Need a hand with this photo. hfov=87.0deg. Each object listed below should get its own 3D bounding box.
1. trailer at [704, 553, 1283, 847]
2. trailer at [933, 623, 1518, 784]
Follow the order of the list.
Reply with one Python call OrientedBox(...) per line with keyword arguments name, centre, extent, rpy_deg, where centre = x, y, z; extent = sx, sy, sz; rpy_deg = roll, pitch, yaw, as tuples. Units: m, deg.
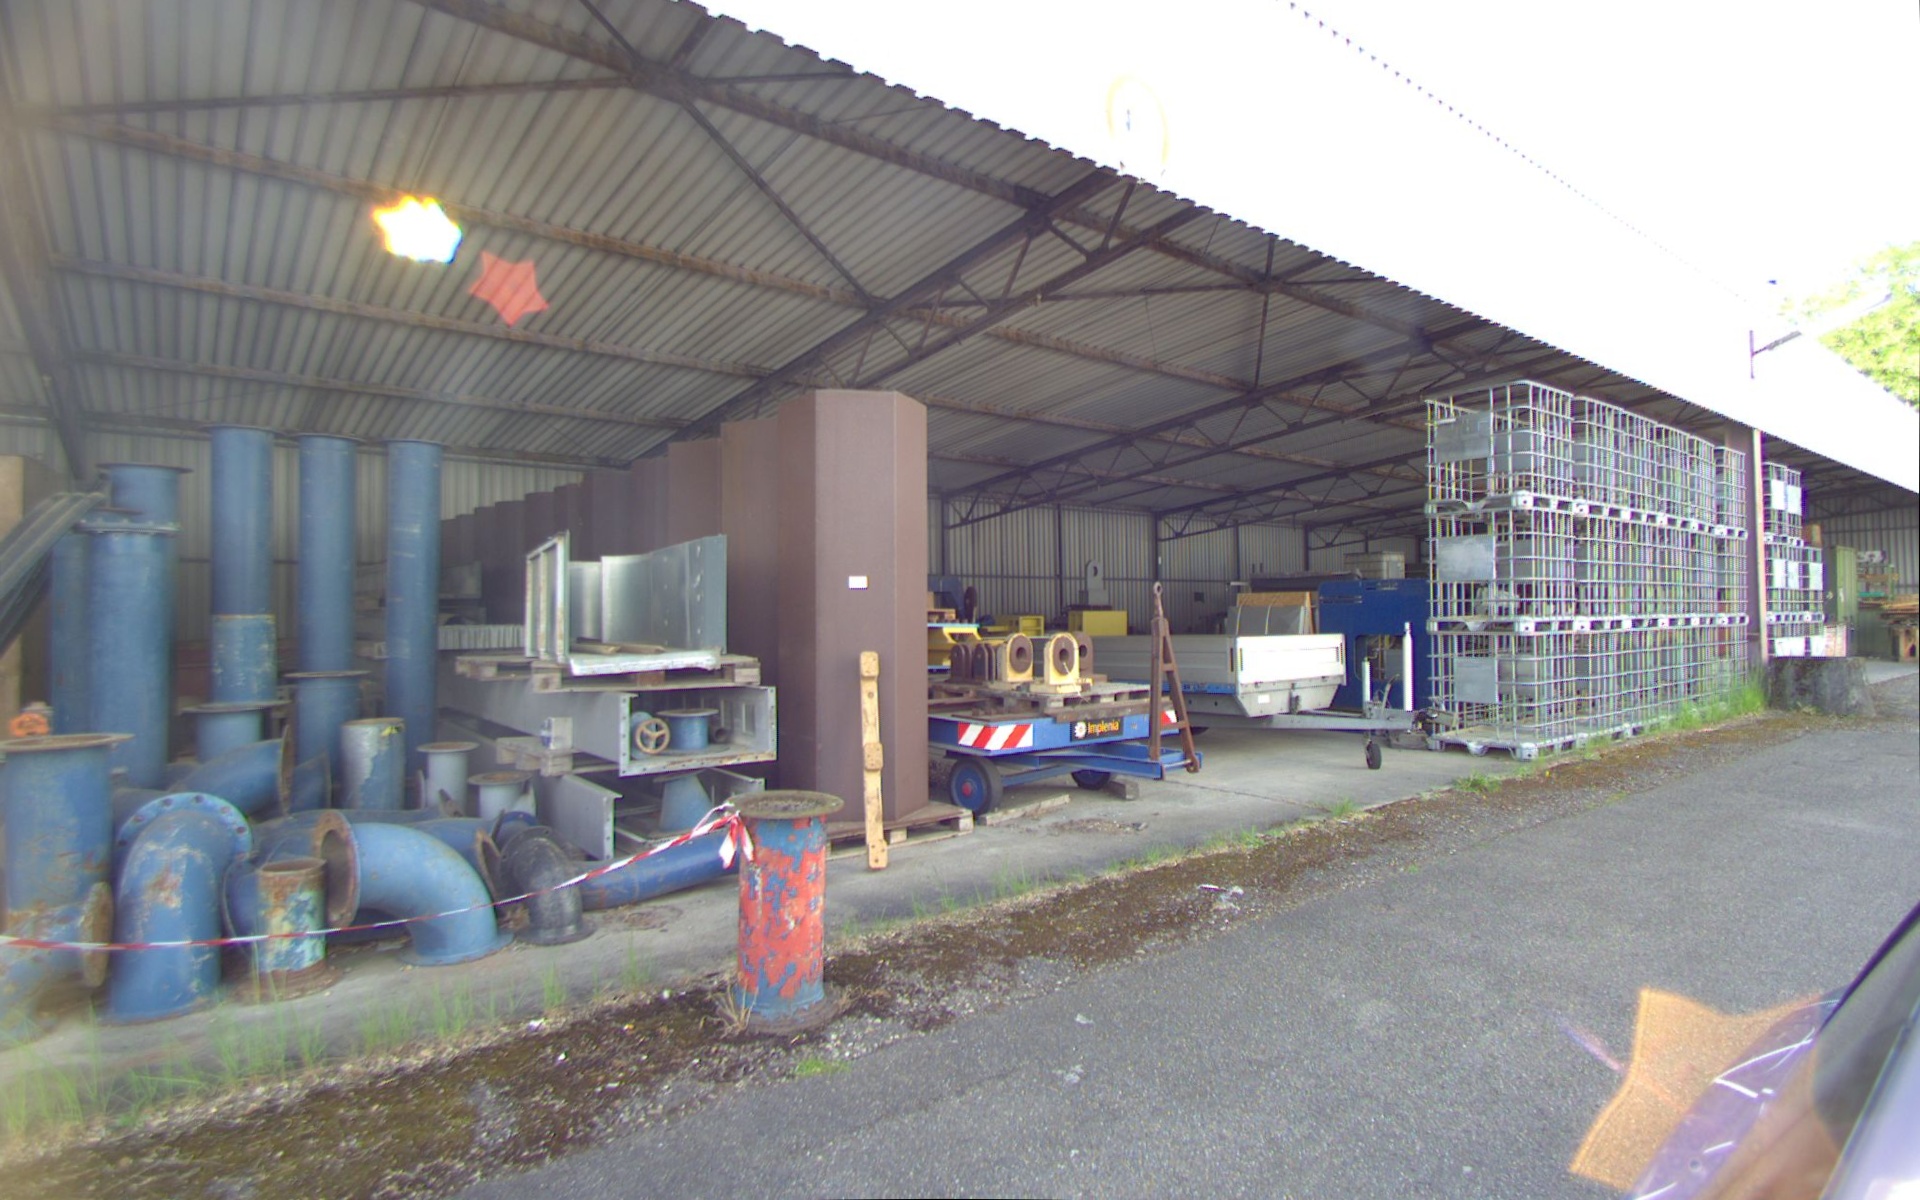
OrientedBox(name="trailer", centre=(-0.092, 0.579, 8.212), extent=(1.993, 1.649, 4.877), rpy_deg=(0, -1, -39))
OrientedBox(name="trailer", centre=(2.284, 0.845, 10.505), extent=(1.993, 1.134, 5.834), rpy_deg=(0, -1, -39))
